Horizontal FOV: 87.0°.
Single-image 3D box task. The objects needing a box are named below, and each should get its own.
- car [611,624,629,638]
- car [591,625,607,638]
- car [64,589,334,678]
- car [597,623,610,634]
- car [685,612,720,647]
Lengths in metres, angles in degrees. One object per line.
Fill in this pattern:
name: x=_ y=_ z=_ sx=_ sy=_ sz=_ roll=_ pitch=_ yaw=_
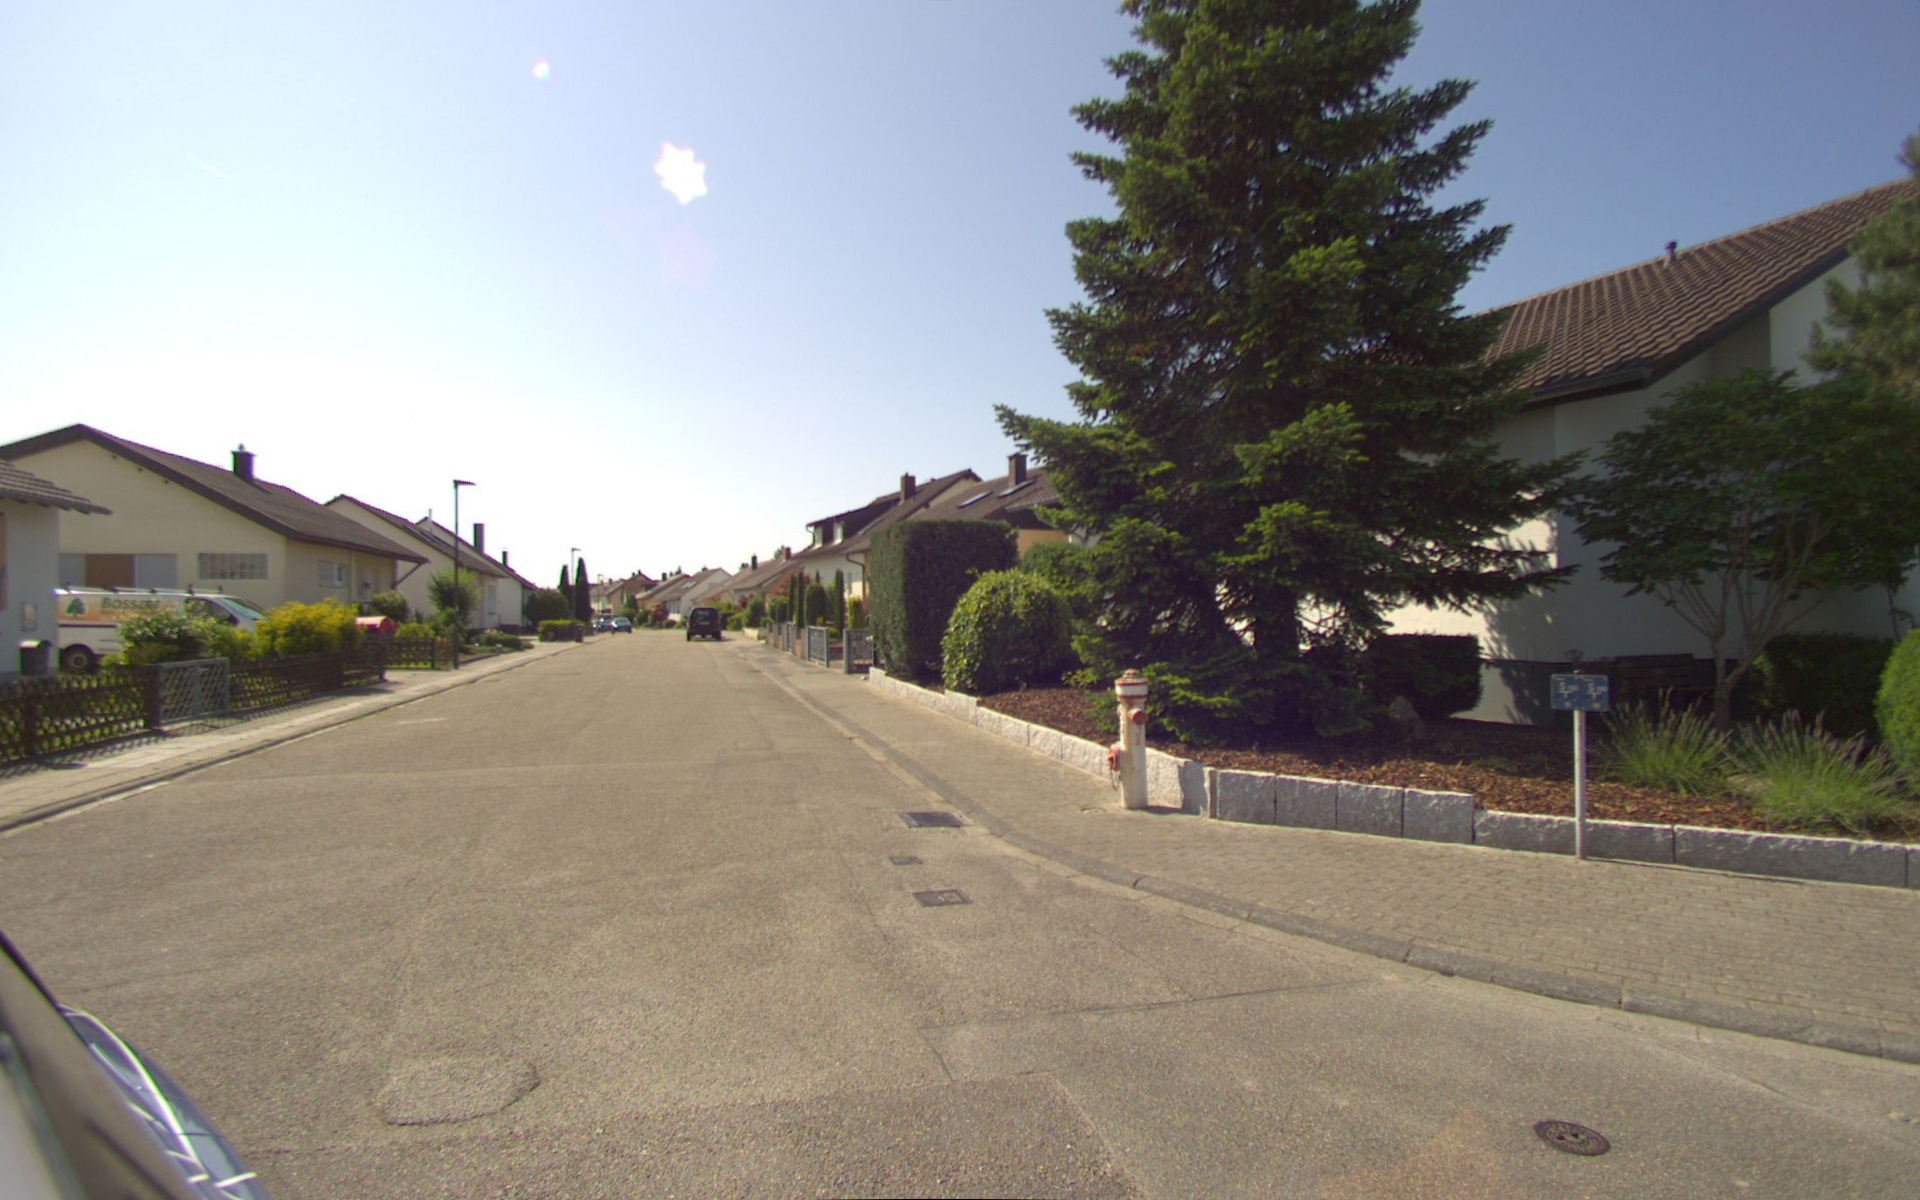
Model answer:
car: x=-32.181 y=2.955 z=95.833 sx=1.434 sy=1.287 sz=3.113 roll=0 pitch=-1 yaw=-21
car: x=-38.220 y=3.336 z=107.229 sx=1.434 sy=1.287 sz=3.114 roll=0 pitch=-1 yaw=-22
car: x=-18.375 y=0.795 z=24.694 sx=4.929 sy=2.029 sz=1.873 roll=0 pitch=-1 yaw=-13
car: x=-41.251 y=3.299 z=117.137 sx=1.434 sy=1.287 sz=3.113 roll=0 pitch=-1 yaw=-20
car: x=-13.833 y=1.544 z=54.323 sx=1.740 sy=1.791 sz=3.662 roll=-1 pitch=-1 yaw=-15
